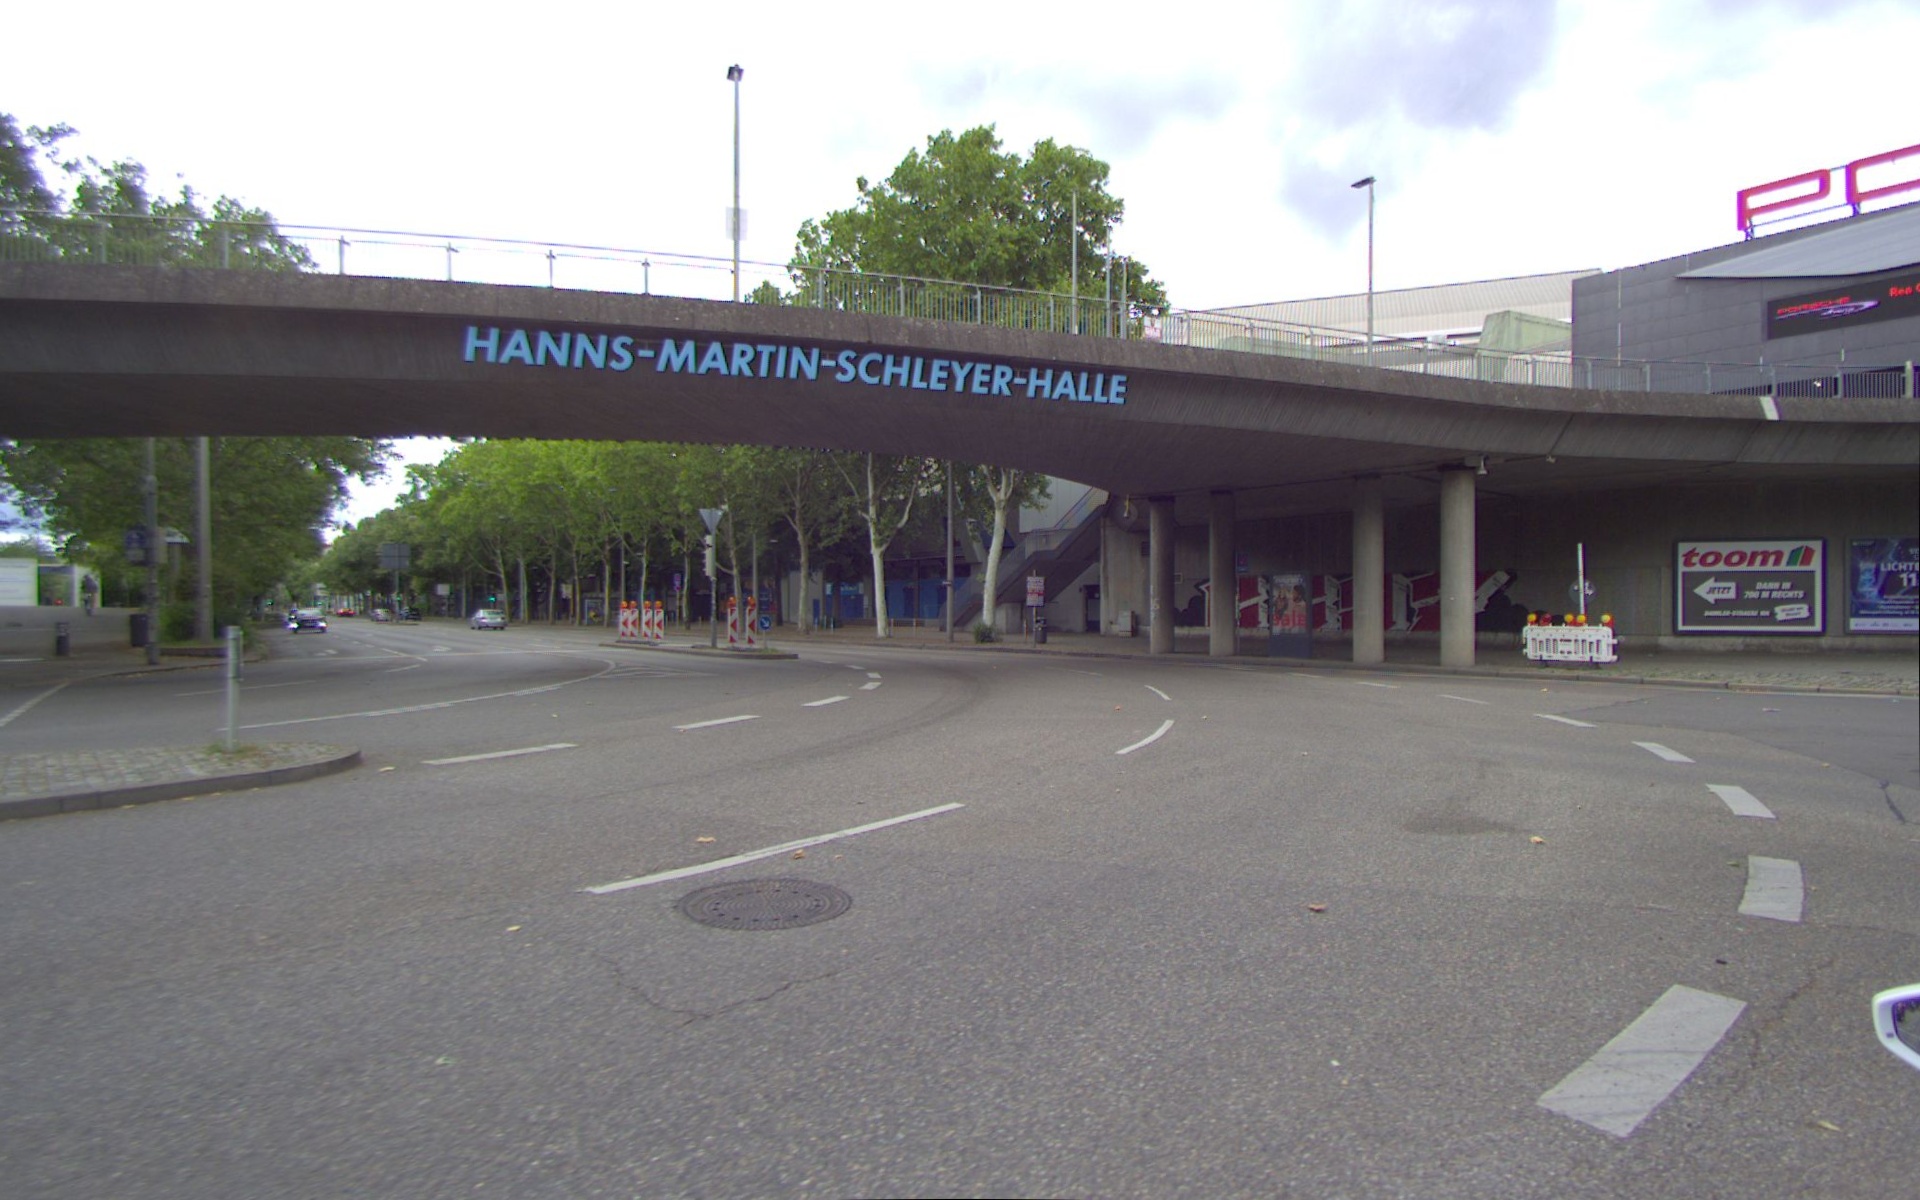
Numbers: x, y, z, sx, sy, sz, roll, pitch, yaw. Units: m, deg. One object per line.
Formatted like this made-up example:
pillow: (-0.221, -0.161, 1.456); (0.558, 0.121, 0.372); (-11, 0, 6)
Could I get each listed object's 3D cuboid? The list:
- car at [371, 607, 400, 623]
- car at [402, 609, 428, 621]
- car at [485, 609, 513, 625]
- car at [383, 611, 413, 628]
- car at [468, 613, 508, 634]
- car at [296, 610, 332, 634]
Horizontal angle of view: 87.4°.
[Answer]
car: (-65.505, 1.683, 114.455); (1.986, 1.682, 3.948); (1, 0, -43)
car: (-66.334, 1.872, 122.267); (1.838, 1.443, 3.949); (1, -1, -43)
car: (-40.622, 1.531, 88.466); (1.601, 1.330, 3.360); (1, 0, -36)
car: (-52.626, 1.807, 93.954); (1.981, 1.437, 3.958); (1, 0, -36)
car: (-34.293, 1.692, 72.911); (1.981, 1.437, 3.959); (1, 0, -36)
car: (-41.183, 1.372, 64.013); (1.746, 1.339, 3.679); (1, 1, -35)
